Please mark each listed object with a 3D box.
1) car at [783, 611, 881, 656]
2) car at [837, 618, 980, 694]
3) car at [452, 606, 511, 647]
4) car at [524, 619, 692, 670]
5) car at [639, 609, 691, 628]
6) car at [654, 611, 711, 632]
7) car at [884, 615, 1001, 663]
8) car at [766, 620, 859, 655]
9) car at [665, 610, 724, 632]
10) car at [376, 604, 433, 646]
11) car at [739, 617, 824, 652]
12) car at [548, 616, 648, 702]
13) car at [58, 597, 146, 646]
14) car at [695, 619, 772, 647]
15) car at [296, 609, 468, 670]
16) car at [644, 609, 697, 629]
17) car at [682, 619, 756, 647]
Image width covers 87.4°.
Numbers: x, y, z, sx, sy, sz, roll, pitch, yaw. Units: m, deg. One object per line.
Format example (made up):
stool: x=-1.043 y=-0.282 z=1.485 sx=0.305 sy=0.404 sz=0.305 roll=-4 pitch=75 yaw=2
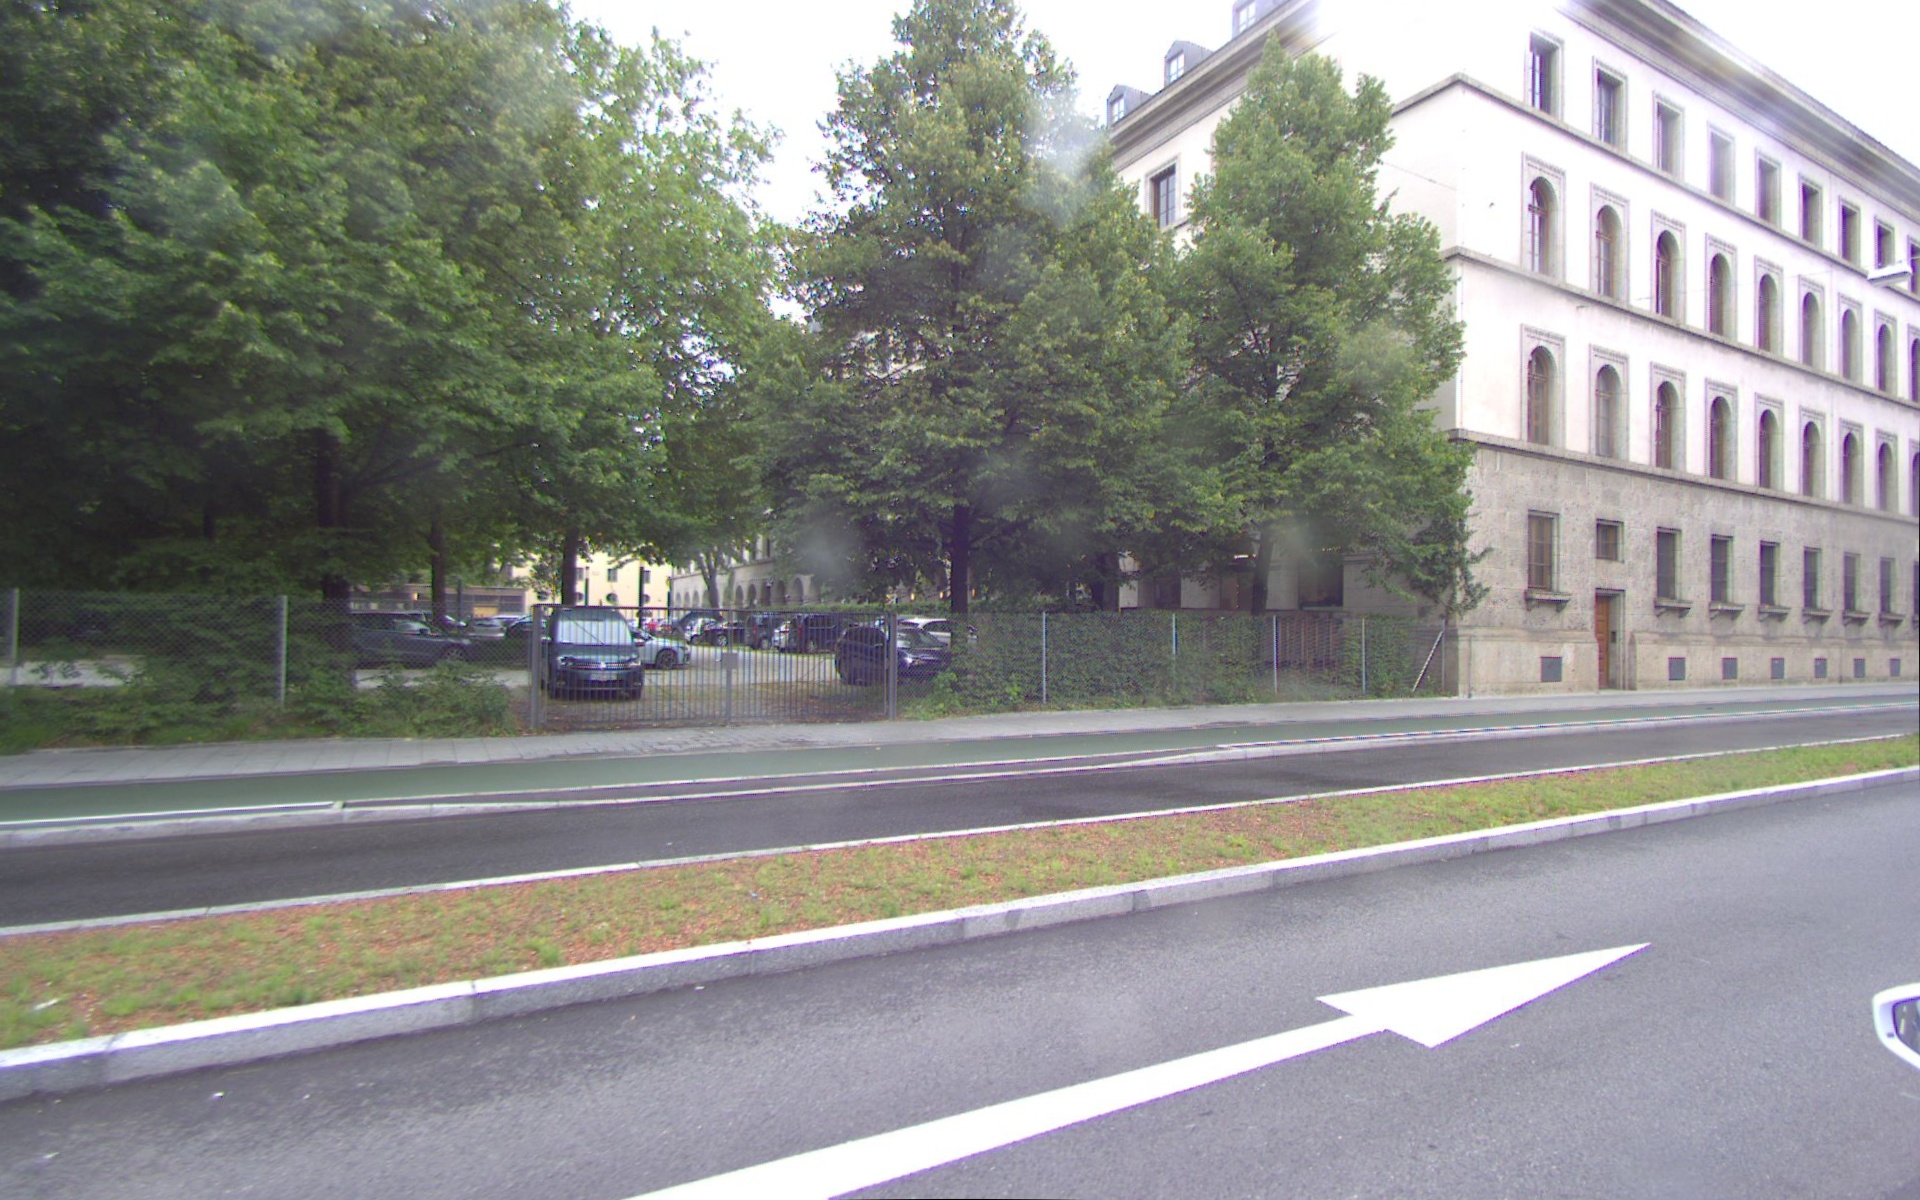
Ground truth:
car: x=-5.753 y=1.505 z=45.156 sx=3.948 sy=1.954 sz=1.838 roll=2 pitch=-2 yaw=-27
car: x=-1.347 y=1.295 z=24.419 sx=1.783 sy=1.671 sz=4.243 roll=1 pitch=-2 yaw=-29
car: x=-21.655 y=1.192 z=45.363 sx=1.978 sy=1.742 sz=3.966 roll=2 pitch=-2 yaw=-32
car: x=-10.758 y=1.348 z=30.797 sx=4.579 sy=1.460 sz=1.984 roll=2 pitch=-2 yaw=-31
car: x=-25.384 y=1.594 z=86.409 sx=3.954 sy=1.564 sz=1.762 roll=2 pitch=-2 yaw=-31
car: x=-21.805 y=1.682 z=78.982 sx=3.954 sy=1.564 sz=1.762 roll=2 pitch=-2 yaw=-31
car: x=-0.611 y=1.429 z=36.441 sx=3.953 sy=1.661 sz=1.657 roll=2 pitch=-1 yaw=-30
car: x=-6.931 y=1.776 z=47.203 sx=3.954 sy=1.564 sz=1.762 roll=2 pitch=-2 yaw=-31
car: x=-19.938 y=1.597 z=75.475 sx=3.954 sy=1.564 sz=1.762 roll=2 pitch=-2 yaw=-31
car: x=-24.208 y=1.086 z=43.704 sx=1.978 sy=1.742 sz=3.966 roll=2 pitch=-2 yaw=-32
car: x=-9.163 y=1.772 z=51.630 sx=3.954 sy=1.755 sz=1.762 roll=2 pitch=-2 yaw=-31
car: x=-7.678 y=1.184 z=21.107 sx=1.779 sy=1.609 sz=4.138 roll=1 pitch=-2 yaw=-22
car: x=-32.691 y=0.822 z=38.393 sx=1.979 sy=1.742 sz=3.964 roll=2 pitch=-2 yaw=-33
car: x=-13.023 y=1.888 z=57.858 sx=3.954 sy=1.564 sz=1.762 roll=2 pitch=-2 yaw=-31
car: x=-15.849 y=1.090 z=27.668 sx=3.955 sy=1.564 sz=1.761 roll=2 pitch=-2 yaw=-32
car: x=-24.151 y=1.625 z=83.926 sx=3.954 sy=1.564 sz=1.762 roll=2 pitch=-2 yaw=-31
car: x=-14.374 y=1.964 z=59.885 sx=3.954 sy=1.564 sz=1.762 roll=2 pitch=-2 yaw=-31
